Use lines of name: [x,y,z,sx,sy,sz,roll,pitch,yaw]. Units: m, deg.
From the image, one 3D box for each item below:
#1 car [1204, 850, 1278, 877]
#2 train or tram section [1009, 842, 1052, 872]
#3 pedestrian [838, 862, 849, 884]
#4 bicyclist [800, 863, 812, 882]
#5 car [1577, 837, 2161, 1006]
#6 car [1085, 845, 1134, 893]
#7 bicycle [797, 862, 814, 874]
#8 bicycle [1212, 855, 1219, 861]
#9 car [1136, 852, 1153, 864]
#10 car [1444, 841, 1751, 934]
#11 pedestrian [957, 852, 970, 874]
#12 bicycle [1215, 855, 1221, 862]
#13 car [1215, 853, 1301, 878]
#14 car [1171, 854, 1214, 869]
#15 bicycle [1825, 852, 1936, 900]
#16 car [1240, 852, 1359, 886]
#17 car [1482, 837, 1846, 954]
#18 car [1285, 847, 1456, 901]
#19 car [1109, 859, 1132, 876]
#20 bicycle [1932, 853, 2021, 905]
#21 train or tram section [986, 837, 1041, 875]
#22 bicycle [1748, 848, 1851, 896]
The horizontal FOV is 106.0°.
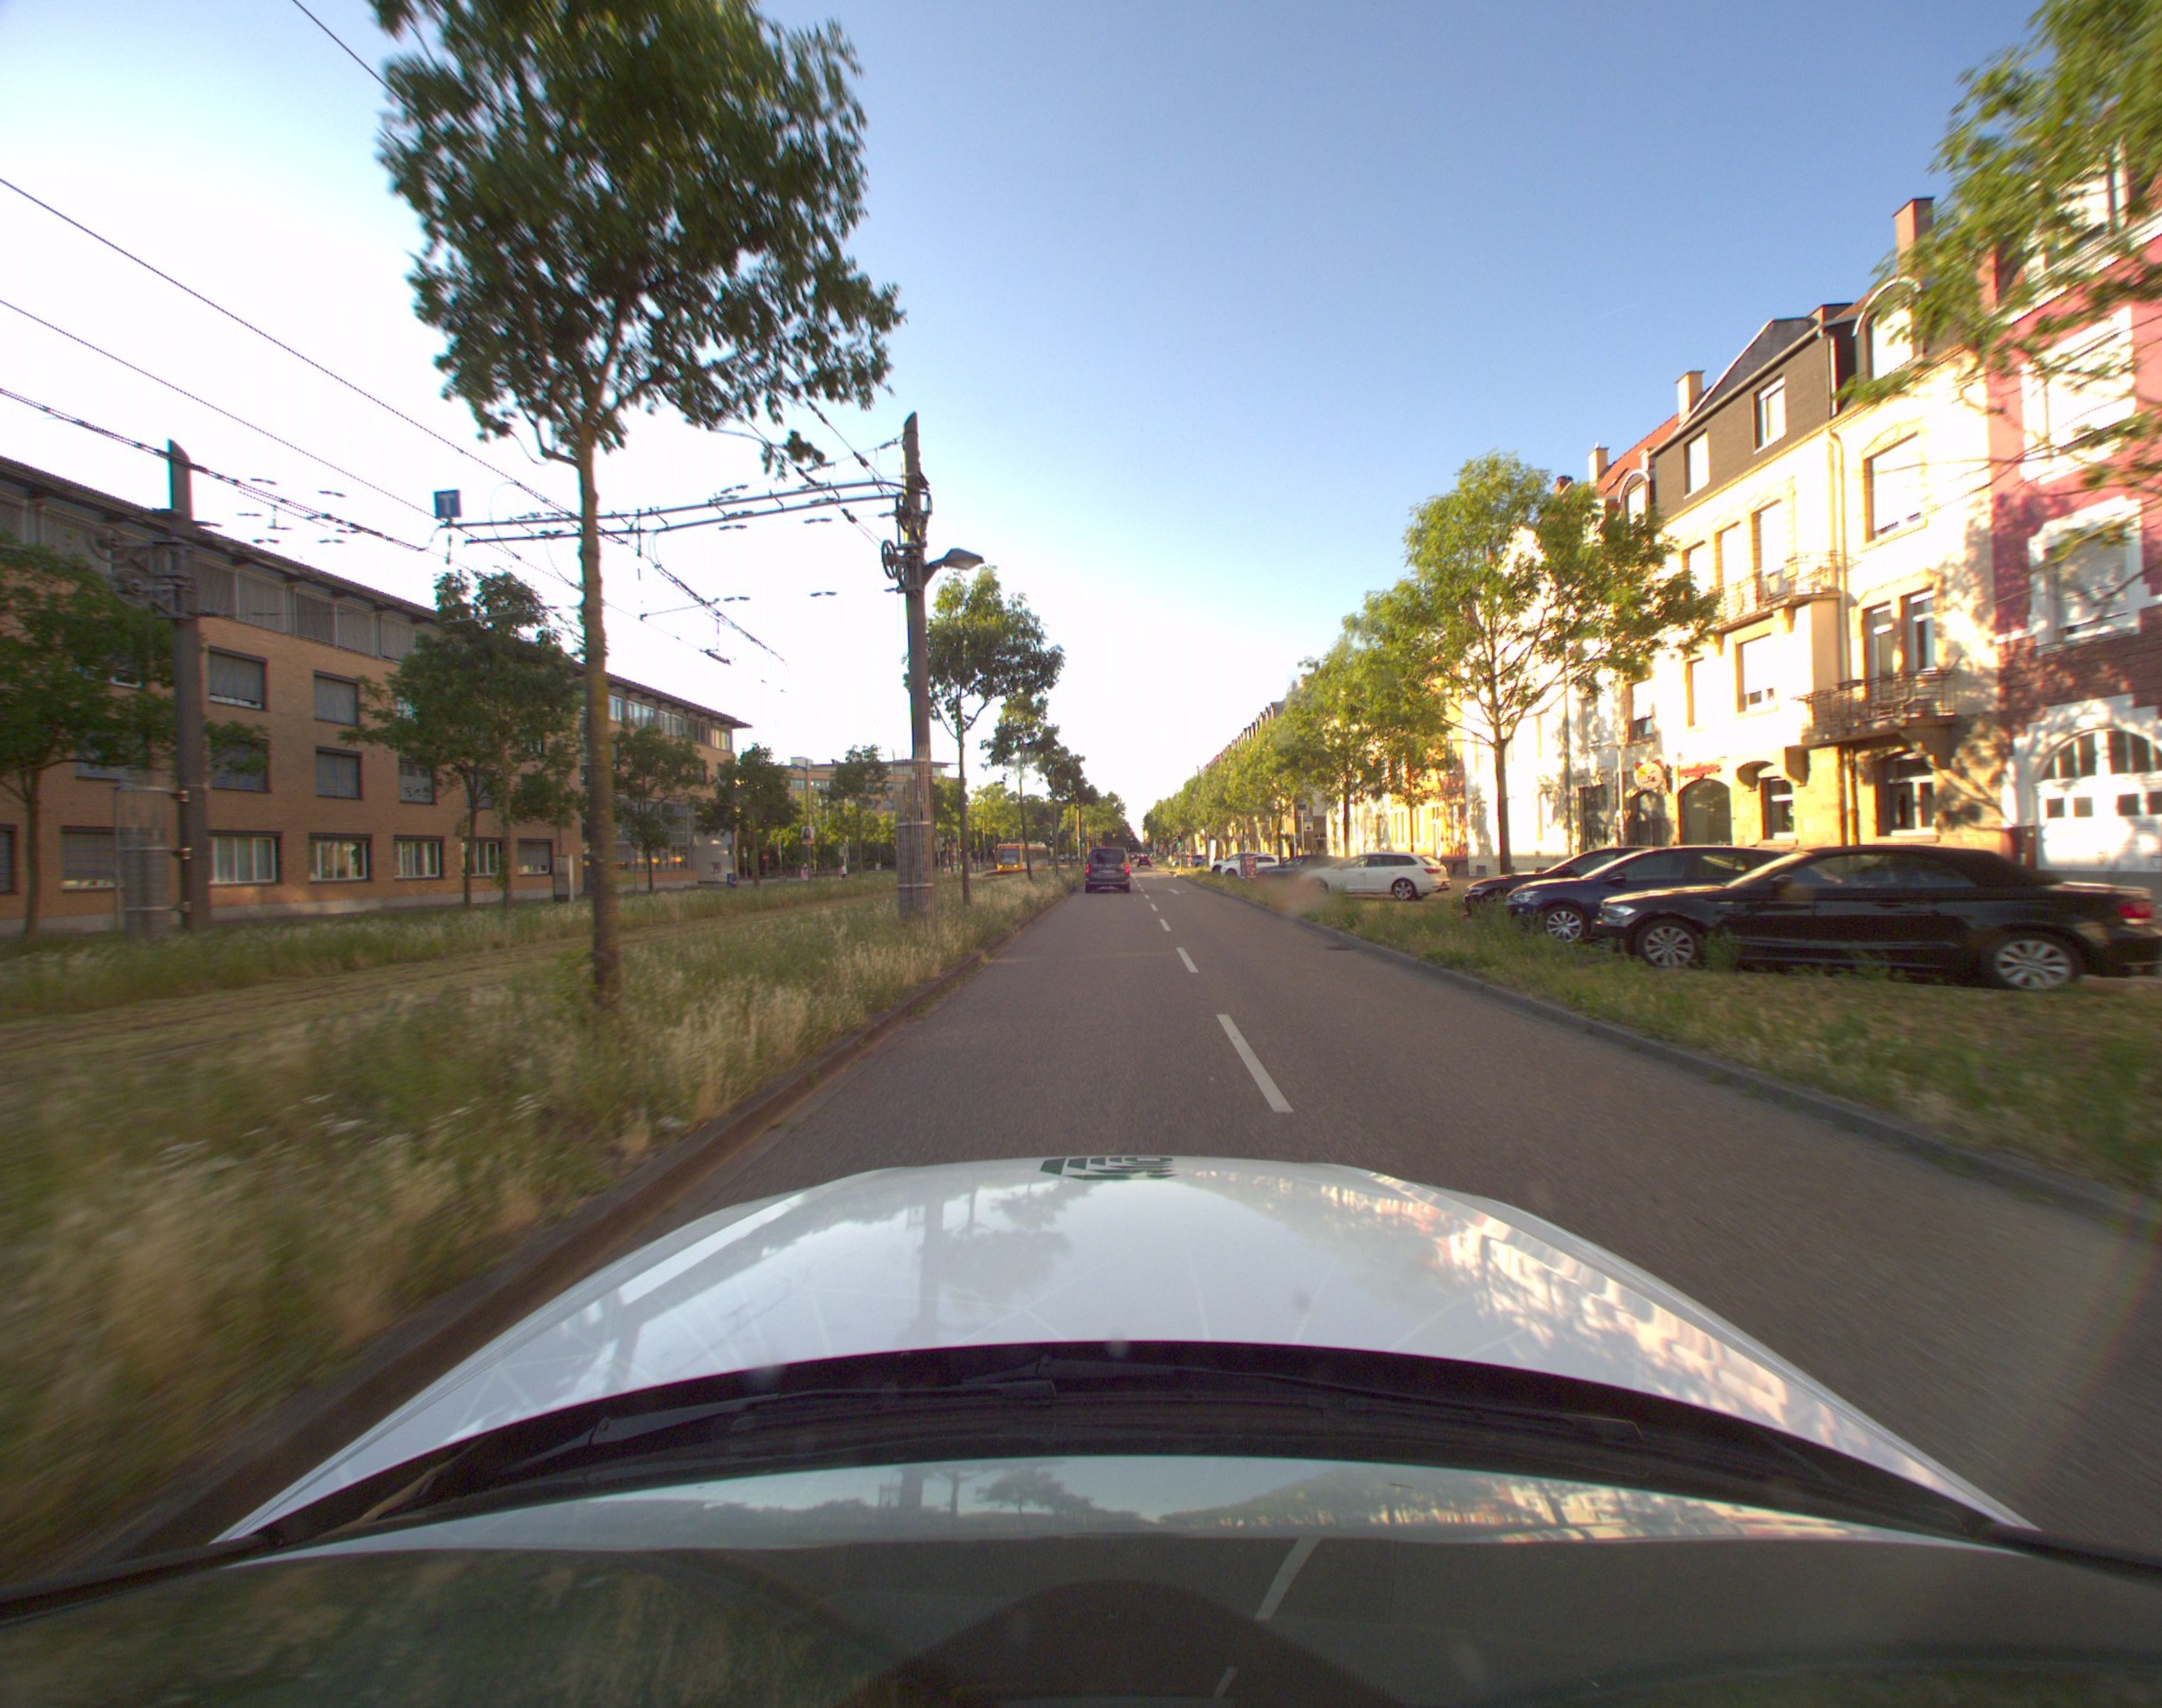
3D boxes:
car: [10.588,0.618,53.964,4.375,1.691,1.928,-1,0,38]
train or tram section: [-5.855,0.367,97.407,3.417,3.339,13.868,-2,0,3]
pedestrian: [-19.209,1.514,65.872,0.687,1.697,0.828,-2,0,-5]
bicyclist: [-25.266,1.706,74.794,0.692,1.674,0.826,-2,-1,3]
car: [8.006,0.578,8.825,4.379,1.423,1.935,-1,0,35]
car: [1.286,0.606,34.842,1.985,1.900,4.303,0,0,3]
bicycle: [-25.278,1.298,74.798,0.707,1.052,2.095,-2,0,3]
bicycle: [21.405,0.692,129.949,0.868,0.916,2.087,-3,0,5]
car: [8.028,0.516,103.463,1.985,1.510,4.003,-1,0,3]
car: [9.036,0.514,14.465,4.379,1.416,1.897,-1,0,39]
pedestrian: [-10.786,0.843,74.723,0.930,2.014,0.958,-2,-1,3]
bicycle: [21.399,0.668,127.388,0.730,0.948,2.344,-3,0,6]
car: [10.398,0.689,47.940,4.496,1.400,2.044,-2,-1,33]
car: [12.140,0.797,88.572,4.232,1.522,1.859,-1,0,35]
bicycle: [17.435,0.458,17.819,0.576,0.990,1.929,-2,0,2]
car: [9.377,0.648,35.064,4.523,1.348,1.908,-2,-1,35]
car: [8.117,0.544,11.790,4.000,1.437,1.738,-1,-1,31]
car: [8.879,0.619,25.167,4.586,1.510,1.859,-2,0,38]
car: [3.667,1.294,76.804,1.987,1.510,4.000,-1,0,0]
bicycle: [17.520,0.471,15.969,0.416,0.961,1.219,-2,0,2]
train or tram section: [-6.642,0.239,82.914,3.416,3.430,15.039,-2,0,3]
bicycle: [17.527,0.414,19.949,0.585,1.078,2.229,-3,0,3]
